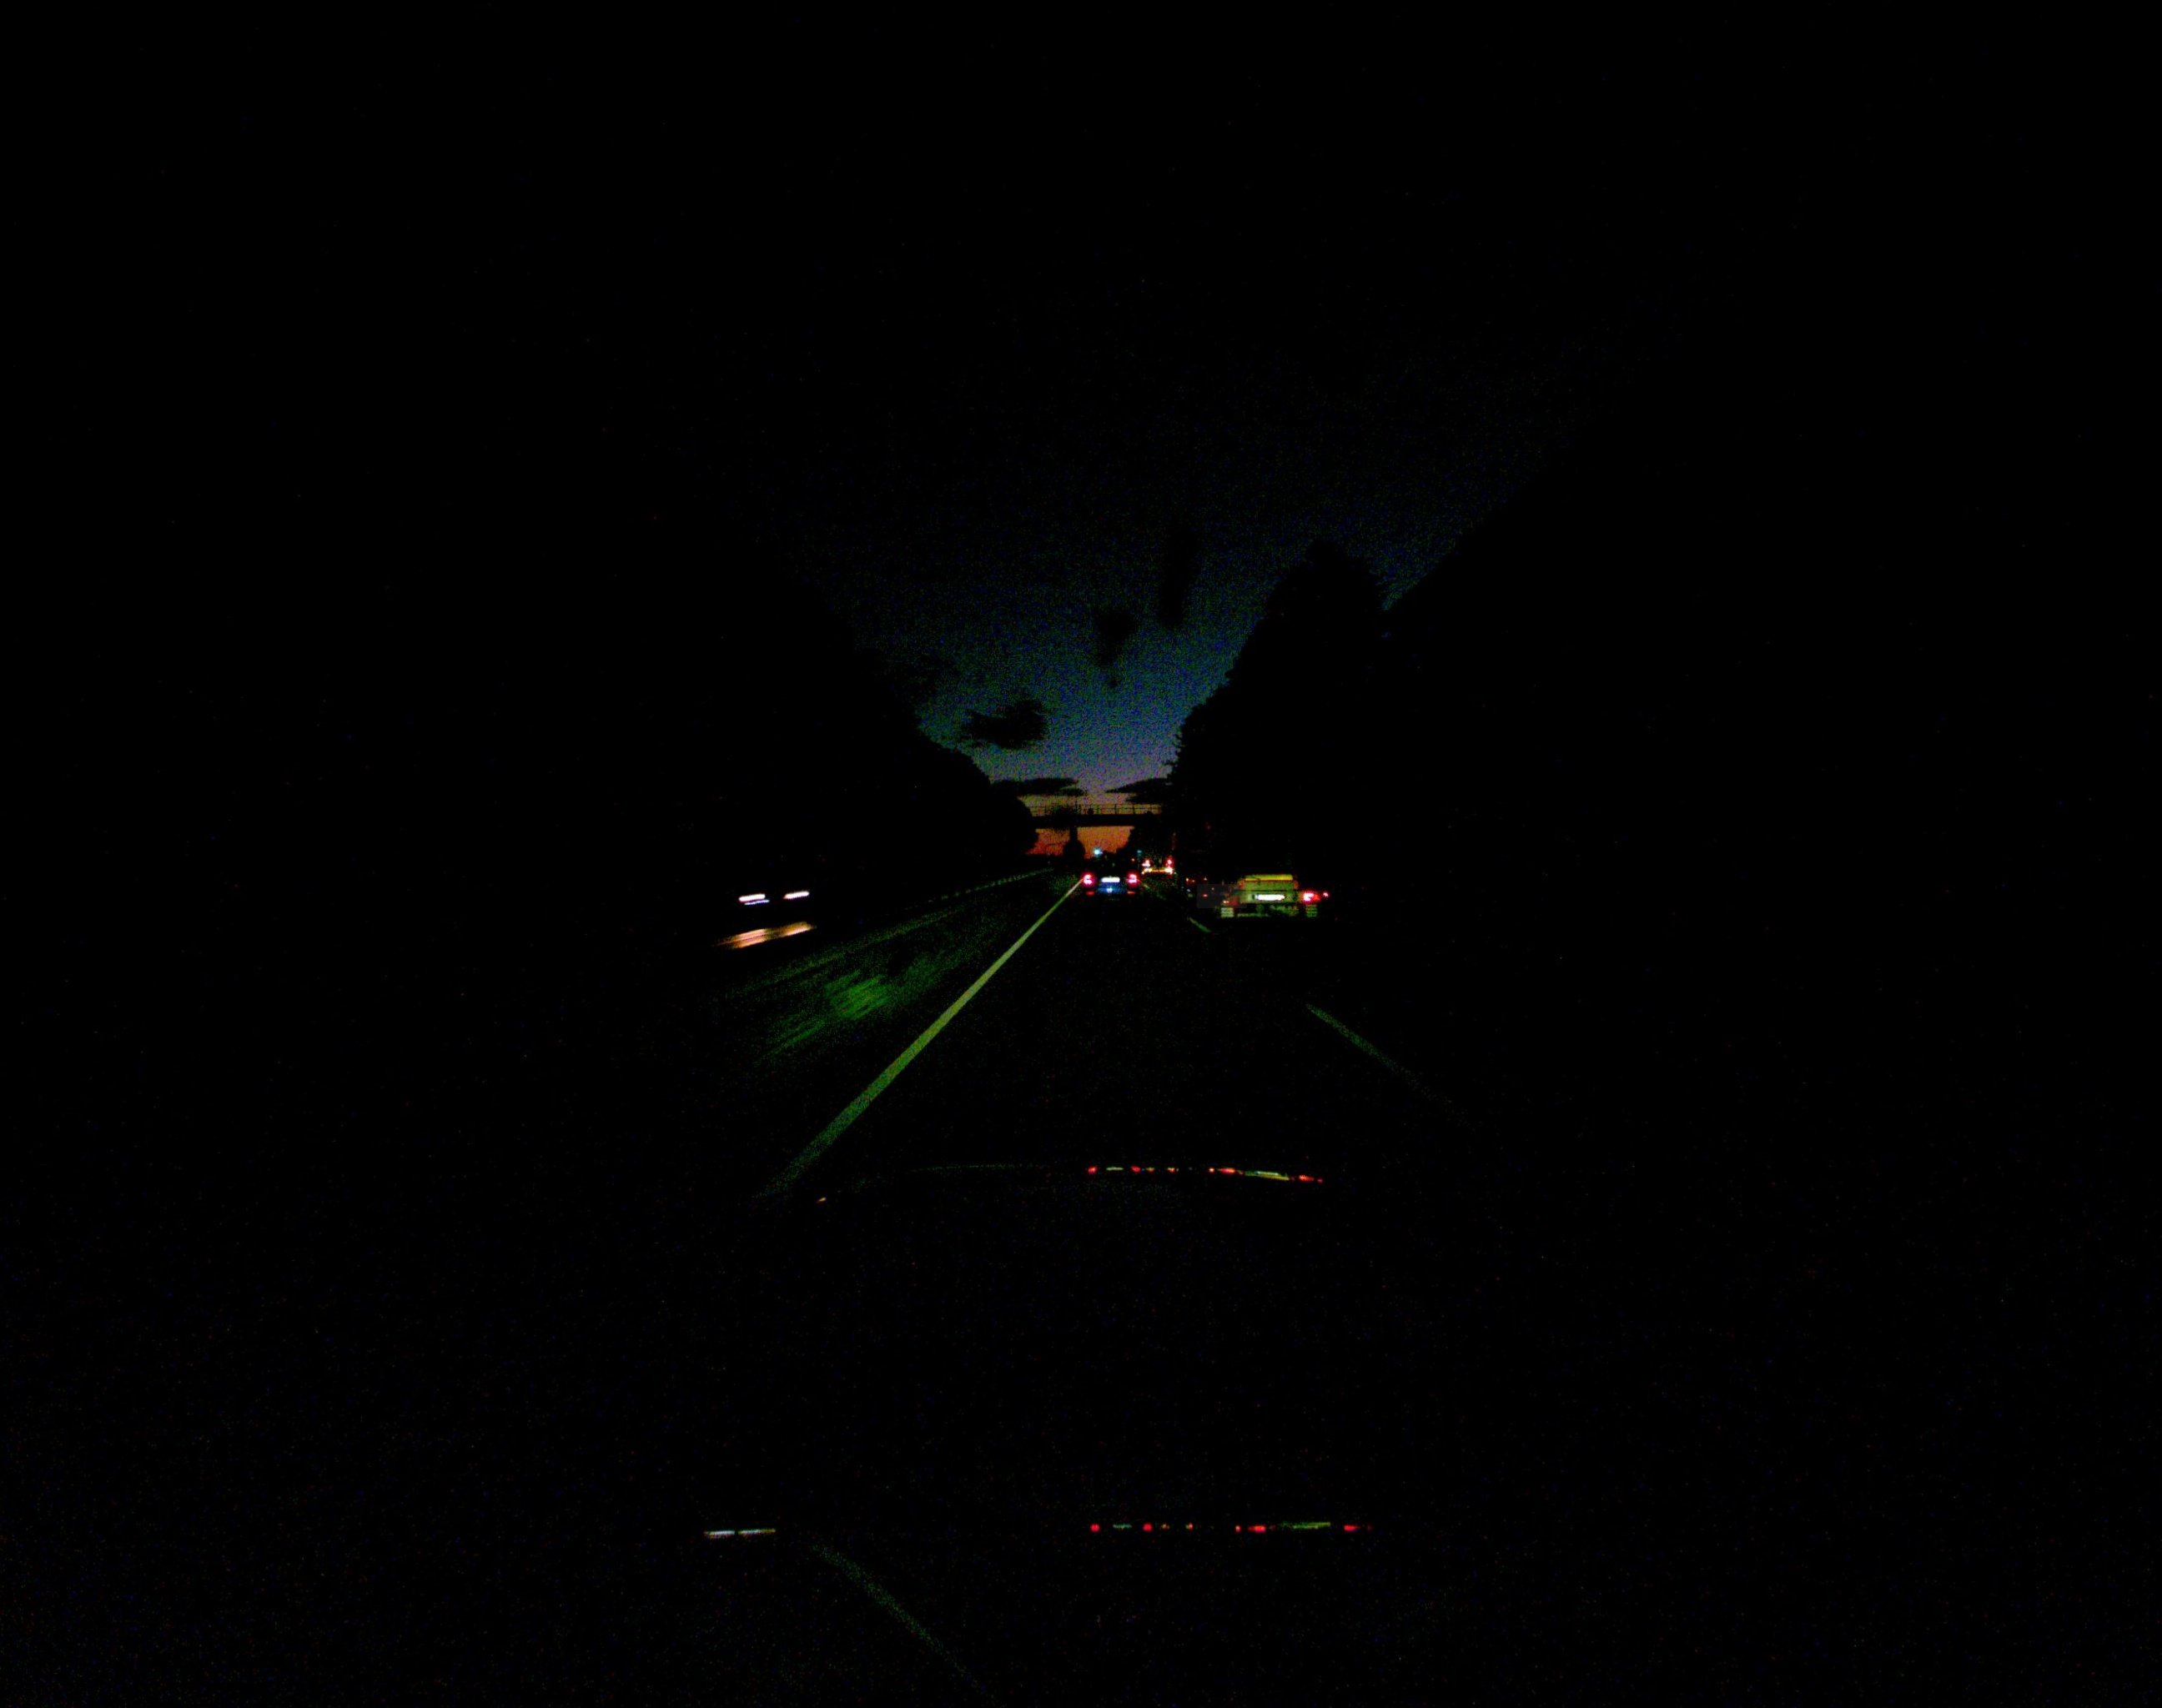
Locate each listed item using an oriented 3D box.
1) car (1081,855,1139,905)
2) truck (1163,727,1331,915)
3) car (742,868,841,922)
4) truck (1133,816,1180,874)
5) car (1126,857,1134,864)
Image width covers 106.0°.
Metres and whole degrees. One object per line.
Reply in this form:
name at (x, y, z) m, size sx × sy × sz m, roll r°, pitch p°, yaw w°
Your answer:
car at (0.903, 0.783, 25.724) m, size 1.689 × 1.452 × 3.915 m, roll 0°, pitch -1°, yaw 1°
truck at (4.314, -0.668, 24.472) m, size 2.677 × 4.106 × 13.145 m, roll 0°, pitch -1°, yaw 2°
car at (-8.965, 1.219, 25.555) m, size 1.611 × 1.507 × 3.870 m, roll 0°, pitch -1°, yaw 1°
truck at (5.869, -0.595, 65.066) m, size 2.872 × 4.106 × 12.687 m, roll 0°, pitch -1°, yaw 2°
car at (10.588, 1.337, 175.675) m, size 1.689 × 1.452 × 3.915 m, roll 0°, pitch -1°, yaw 1°
